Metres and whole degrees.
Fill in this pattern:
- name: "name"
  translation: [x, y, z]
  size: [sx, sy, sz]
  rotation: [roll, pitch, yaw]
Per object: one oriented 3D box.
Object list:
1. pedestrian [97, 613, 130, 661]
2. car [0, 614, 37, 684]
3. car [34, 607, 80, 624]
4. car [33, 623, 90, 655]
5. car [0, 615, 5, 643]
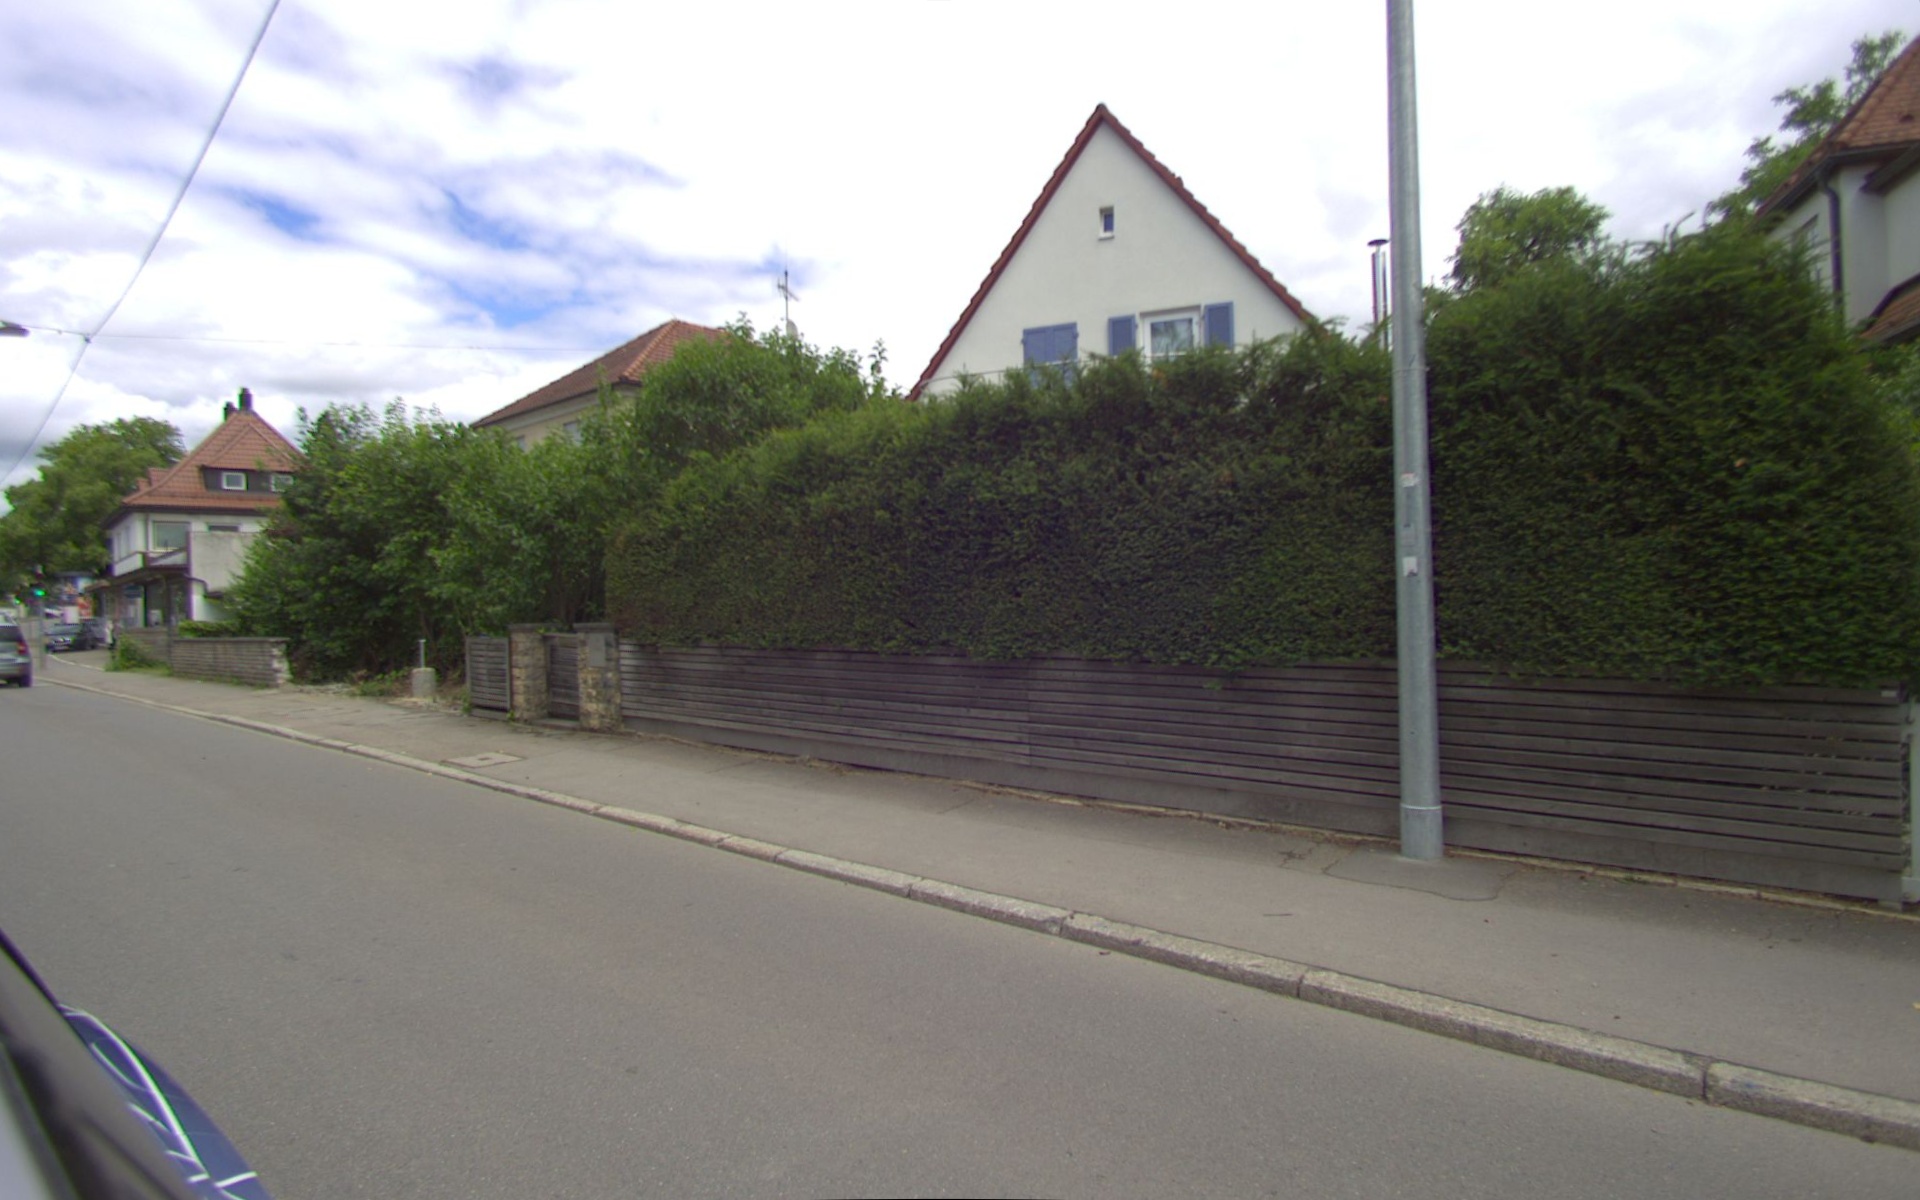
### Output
- name: "pedestrian"
  translation: [-32.169, 1.382, 38.455]
  size: [0.604, 1.757, 0.811]
  rotation: [-1, 2, 43]
- name: "car"
  translation: [-24.756, 1.194, 25.368]
  size: [4.135, 1.668, 1.821]
  rotation: [-1, -3, 40]
- name: "car"
  translation: [-112.055, 1.914, 125.591]
  size: [3.934, 1.752, 2.005]
  rotation: [-4, 2, -35]
- name: "car"
  translation: [-44.895, 1.936, 50.619]
  size: [1.795, 1.361, 3.399]
  rotation: [-4, 2, -37]
- name: "car"
  translation: [-68.593, 2.081, 71.008]
  size: [4.832, 1.930, 1.860]
  rotation: [-1, 2, 42]
